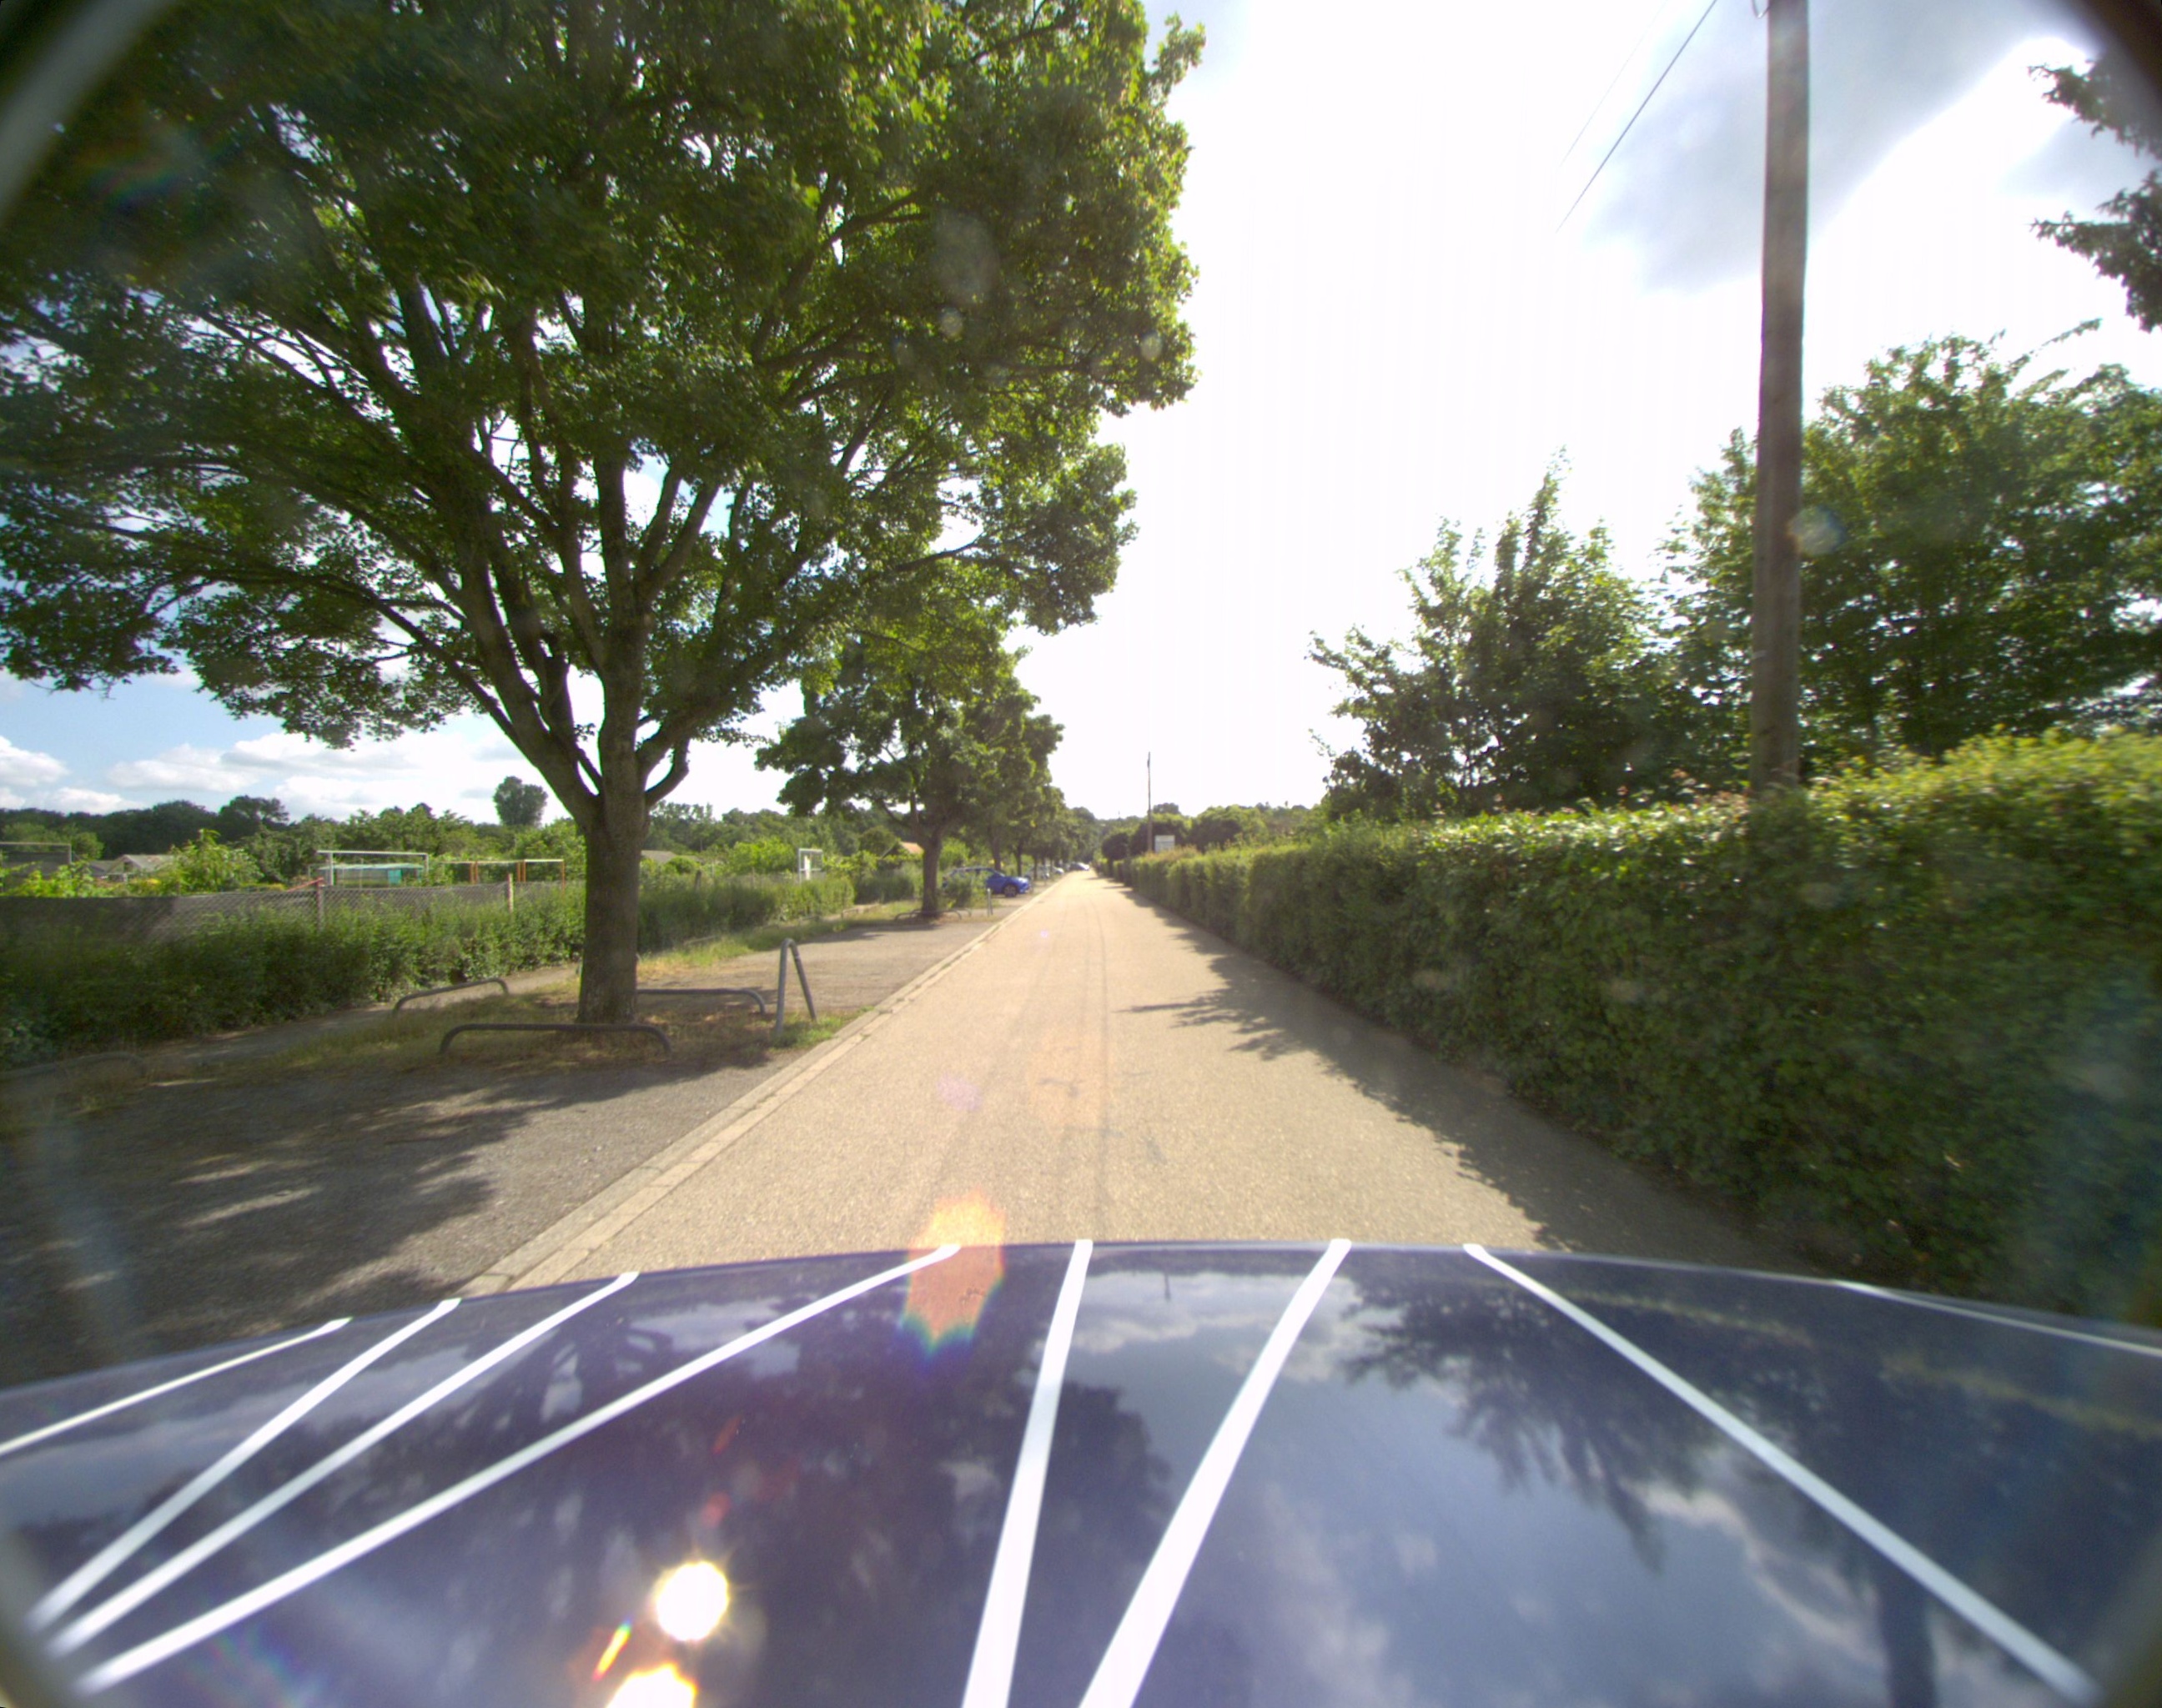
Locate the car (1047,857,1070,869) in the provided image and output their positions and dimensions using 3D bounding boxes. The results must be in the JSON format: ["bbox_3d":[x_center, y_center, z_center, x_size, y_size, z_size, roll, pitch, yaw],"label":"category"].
[{"bbox_3d":[-4.017,1.608,134.524,3.998,1.824,1.999,-2,0,-3],"label":"car"}]

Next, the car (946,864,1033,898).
[{"bbox_3d":[-4.469,1.305,37.641,4.116,1.573,1.781,-1,0,-1],"label":"car"}]

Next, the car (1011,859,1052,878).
[{"bbox_3d":[-5.017,1.473,77.637,3.929,1.740,2.000,-2,0,0],"label":"car"}]

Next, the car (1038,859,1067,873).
[{"bbox_3d":[-3.964,1.645,106.247,3.929,1.740,2.000,-2,0,0],"label":"car"}]
